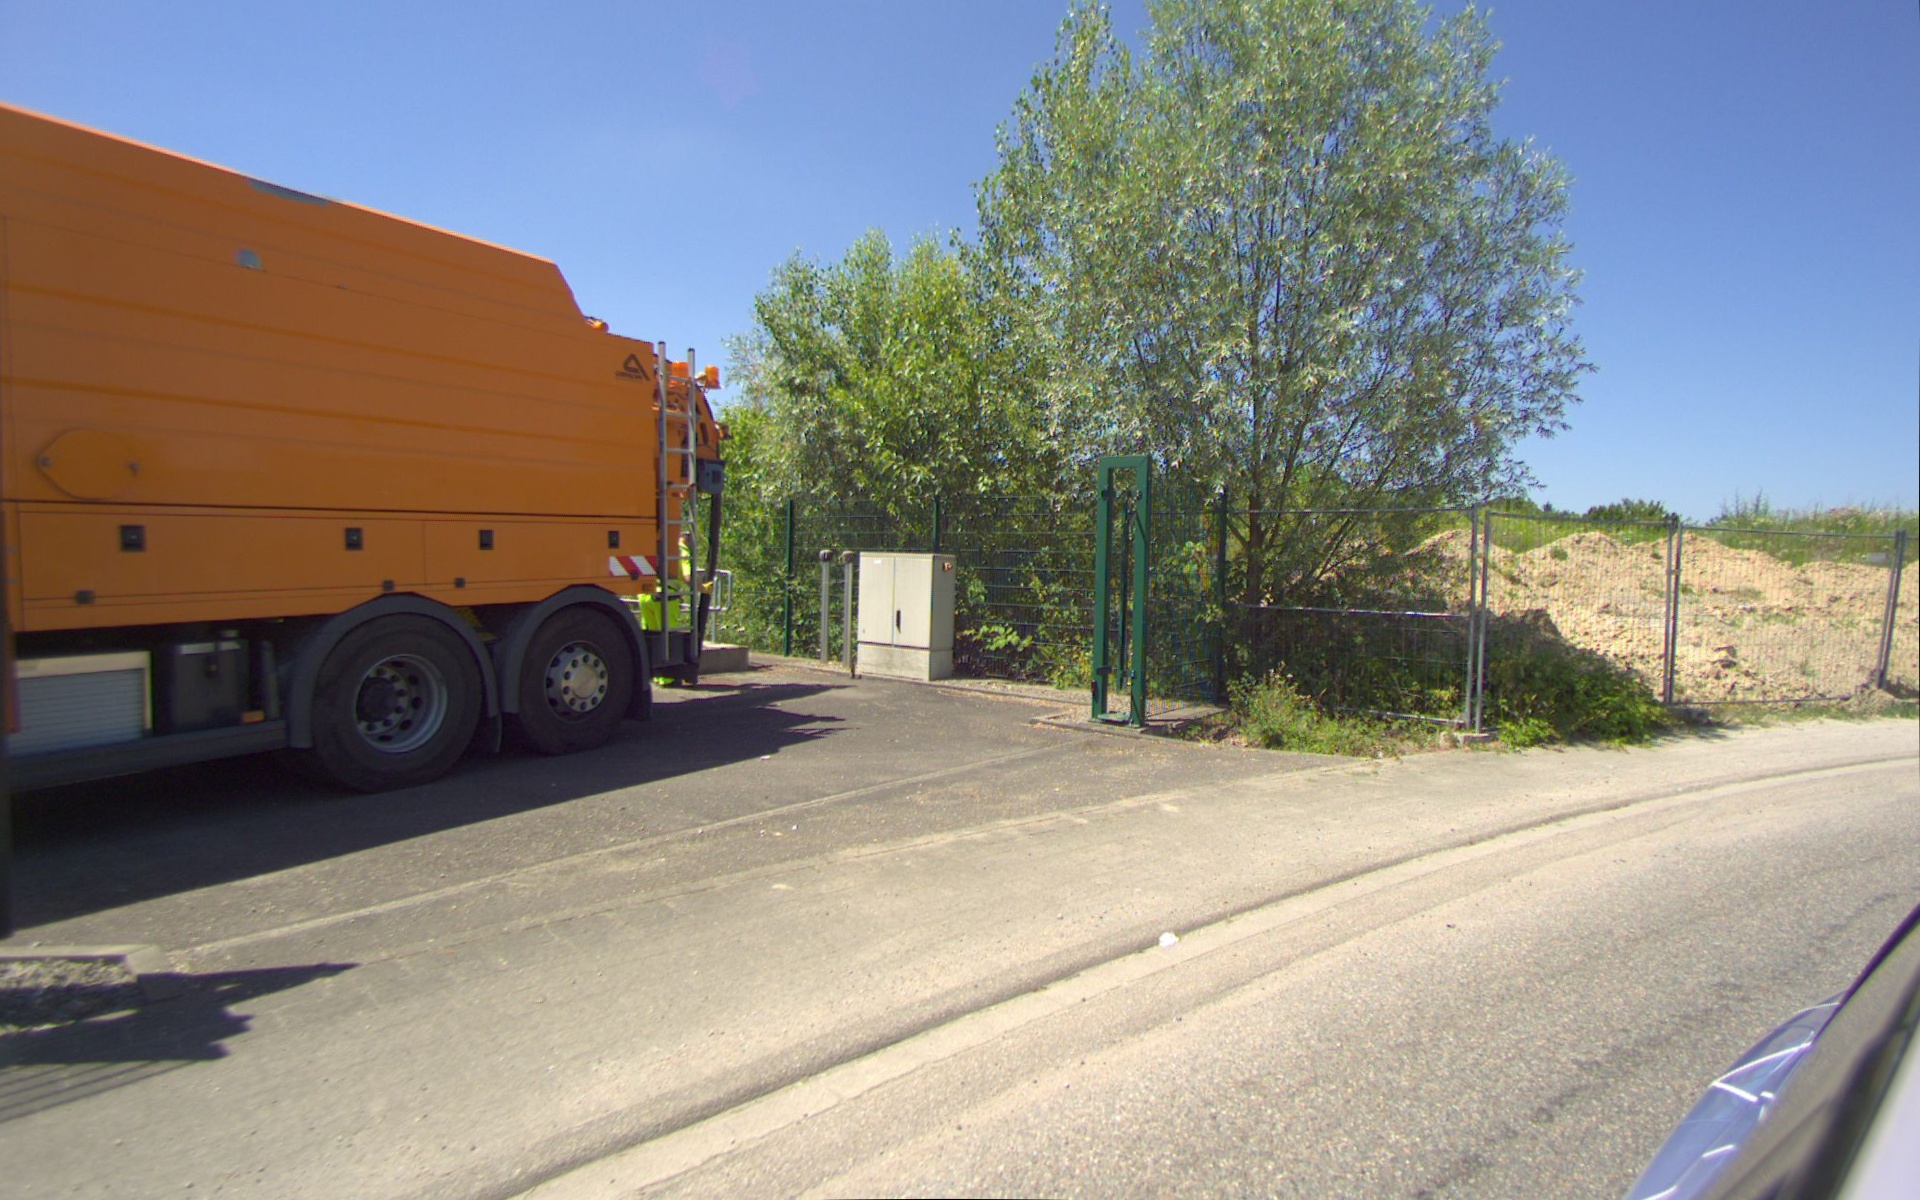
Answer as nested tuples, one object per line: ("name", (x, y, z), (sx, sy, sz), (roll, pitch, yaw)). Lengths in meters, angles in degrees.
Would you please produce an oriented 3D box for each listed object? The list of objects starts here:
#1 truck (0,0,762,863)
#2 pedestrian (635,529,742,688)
("truck", (-5.583, -0.921, 5.779), (4.132, 3.852, 8.520), (3, 4, 31))
("pedestrian", (-2.831, 0.067, 10.566), (0.758, 1.565, 0.748), (3, 2, 36))
